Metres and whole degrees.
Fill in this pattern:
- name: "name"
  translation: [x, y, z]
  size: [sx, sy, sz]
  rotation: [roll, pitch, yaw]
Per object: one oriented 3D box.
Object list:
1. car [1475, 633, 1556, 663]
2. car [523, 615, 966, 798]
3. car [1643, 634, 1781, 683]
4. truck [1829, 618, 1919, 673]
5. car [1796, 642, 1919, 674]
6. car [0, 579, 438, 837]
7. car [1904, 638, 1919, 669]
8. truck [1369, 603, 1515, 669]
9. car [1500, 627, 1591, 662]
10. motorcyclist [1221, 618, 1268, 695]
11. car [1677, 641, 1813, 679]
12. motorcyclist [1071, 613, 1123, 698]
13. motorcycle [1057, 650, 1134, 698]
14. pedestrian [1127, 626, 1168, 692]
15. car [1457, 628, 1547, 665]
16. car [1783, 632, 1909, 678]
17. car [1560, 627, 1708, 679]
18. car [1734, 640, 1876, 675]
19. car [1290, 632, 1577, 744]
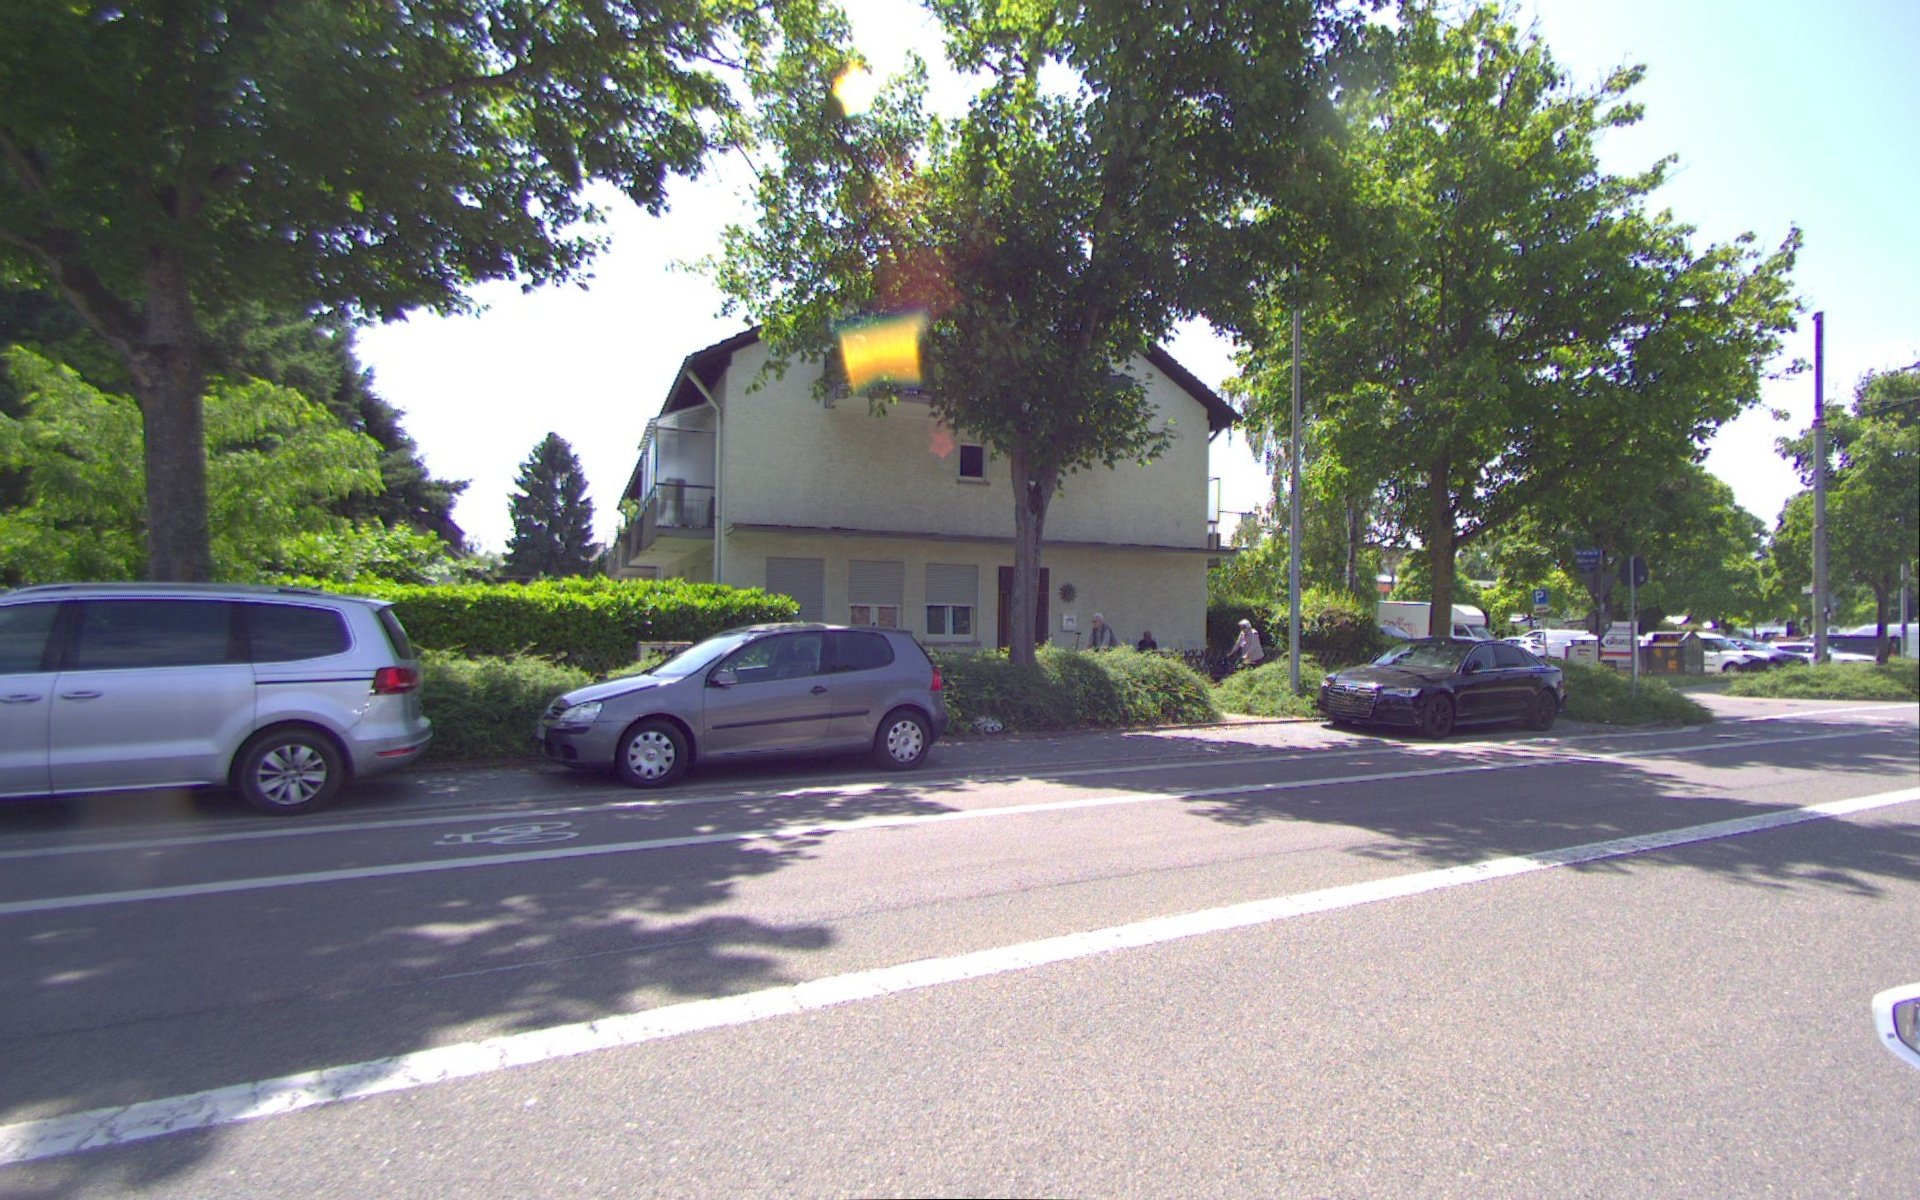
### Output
- name: "car"
  translation: [31.766, 2.731, 57.542]
  size: [1.713, 1.597, 3.728]
  rotation: [2, -1, -30]
- name: "car"
  translation: [-2.118, 0.962, 10.220]
  size: [4.080, 1.506, 1.667]
  rotation: [2, 0, -31]
- name: "car"
  translation: [30.722, 2.342, 41.181]
  size: [1.652, 1.860, 4.251]
  rotation: [1, -2, -27]
- name: "truck"
  translation: [49.204, 2.361, 52.262]
  size: [2.402, 2.796, 5.555]
  rotation: [1, -2, -28]
- name: "car"
  translation: [44.360, 2.837, 49.737]
  size: [1.835, 1.430, 4.189]
  rotation: [2, -2, -31]
- name: "car"
  translation: [-6.612, 0.718, 7.645]
  size: [4.630, 1.711, 1.962]
  rotation: [2, 0, -29]
- name: "car"
  translation: [58.017, 3.157, 58.088]
  size: [1.776, 1.837, 4.695]
  rotation: [2, -2, -31]
- name: "truck"
  translation: [25.424, 1.830, 53.324]
  size: [2.126, 3.270, 6.941]
  rotation: [1, -1, -31]
- name: "car"
  translation: [33.956, 2.581, 58.356]
  size: [1.948, 1.844, 4.108]
  rotation: [2, -1, -30]
- name: "motorcyclist"
  translation: [5.832, 1.142, 20.577]
  size: [0.654, 1.523, 0.583]
  rotation: [1, 2, -29]
- name: "car"
  translation: [33.315, 2.516, 42.728]
  size: [2.059, 1.422, 4.171]
  rotation: [2, -2, -33]
- name: "motorcyclist"
  translation: [2.570, 1.030, 18.827]
  size: [0.716, 1.523, 0.583]
  rotation: [1, 2, -29]
- name: "motorcycle"
  translation: [2.537, 1.367, 18.809]
  size: [1.354, 0.837, 0.523]
  rotation: [2, 1, -29]
- name: "pedestrian"
  translation: [4.416, 1.379, 23.687]
  size: [0.599, 1.530, 0.792]
  rotation: [1, -1, -23]
- name: "car"
  translation: [29.917, 2.551, 55.554]
  size: [1.628, 1.844, 4.108]
  rotation: [1, -1, -30]
- name: "car"
  translation: [42.489, 2.598, 48.253]
  size: [1.835, 2.021, 4.189]
  rotation: [2, -2, -31]
- name: "car"
  translation: [26.331, 2.017, 39.398]
  size: [2.039, 1.881, 4.421]
  rotation: [2, -2, -33]
- name: "car"
  translation: [39.687, 2.665, 47.311]
  size: [2.035, 1.508, 4.737]
  rotation: [2, -2, -31]
- name: "car"
  translation: [7.582, 1.300, 15.934]
  size: [4.758, 1.476, 1.883]
  rotation: [2, 0, -33]
